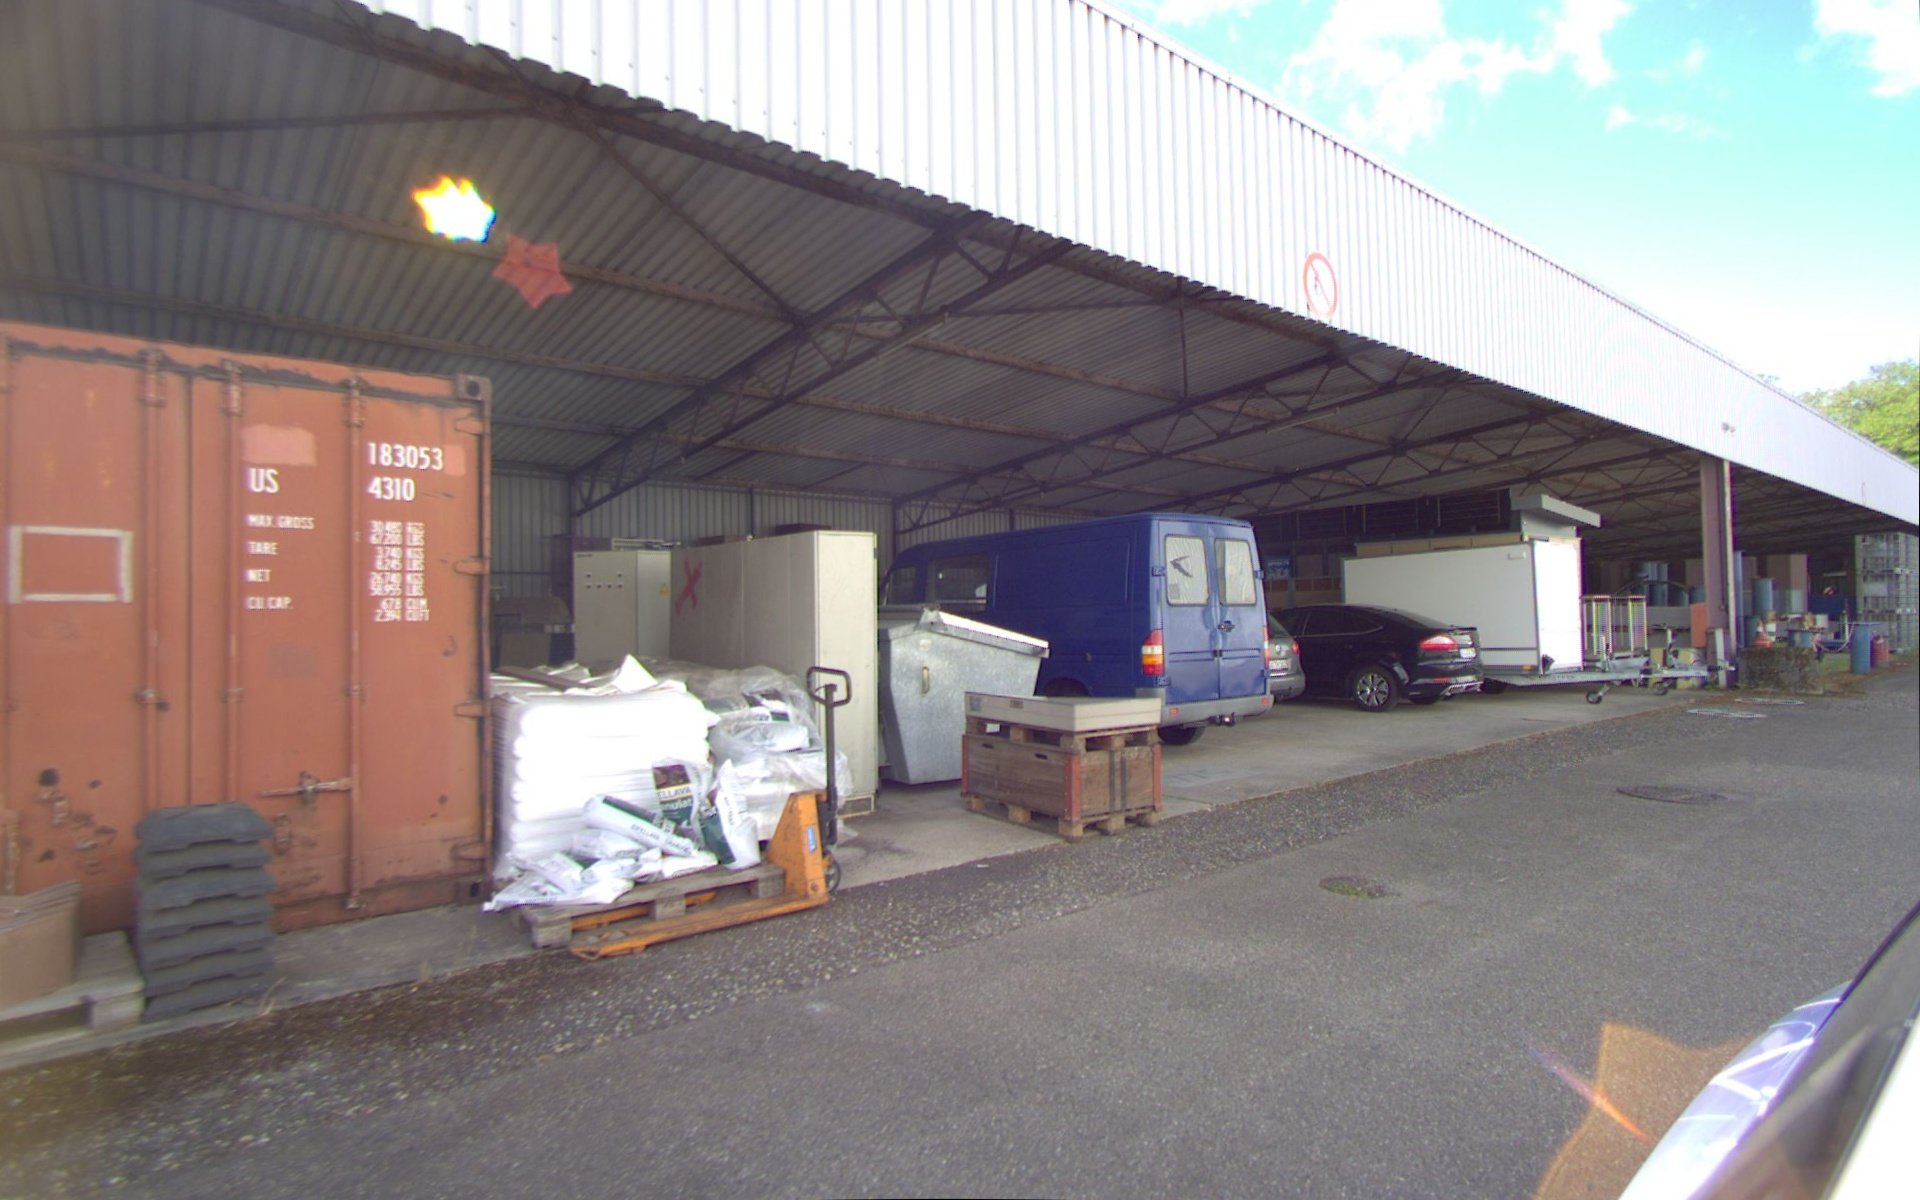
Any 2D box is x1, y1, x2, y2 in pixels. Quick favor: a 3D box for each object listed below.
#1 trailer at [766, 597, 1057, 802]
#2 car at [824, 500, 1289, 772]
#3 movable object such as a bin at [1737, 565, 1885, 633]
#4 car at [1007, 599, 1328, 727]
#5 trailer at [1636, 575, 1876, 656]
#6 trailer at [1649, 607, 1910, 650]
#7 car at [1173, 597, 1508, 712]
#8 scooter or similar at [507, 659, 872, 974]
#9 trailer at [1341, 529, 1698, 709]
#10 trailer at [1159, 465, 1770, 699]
[{"bbox_3d":[-0.477,0.743,8.780,1.611,1.481,2.100,-1,0,-36],"label":"trailer"},{"bbox_3d":[0.764,0.341,11.311,2.047,2.327,5.225,0,-1,-40],"label":"car"},{"bbox_3d":[36.438,0.000,43.419,1.965,2.757,4.622,2,-1,-41],"label":"movable object such as a bin"},{"bbox_3d":[2.690,0.733,13.920,1.817,1.472,4.116,0,0,-39],"label":"car"},{"bbox_3d":[21.709,0.376,27.801,2.009,2.022,4.831,0,0,-36],"label":"trailer"},{"bbox_3d":[24.116,0.828,30.024,1.974,1.147,5.743,0,-1,-41],"label":"trailer"},{"bbox_3d":[5.542,0.694,15.173,1.833,1.451,4.349,0,0,-42],"label":"car"},{"bbox_3d":[-1.213,0.903,4.739,1.564,1.149,0.521,-1,-1,-40],"label":"scooter or similar"},{"bbox_3d":[8.436,0.248,15.660,1.658,2.365,4.552,0,0,-39],"label":"trailer"},{"bbox_3d":[8.659,-0.257,19.319,2.627,3.337,10.316,0,0,-38],"label":"trailer"}]
